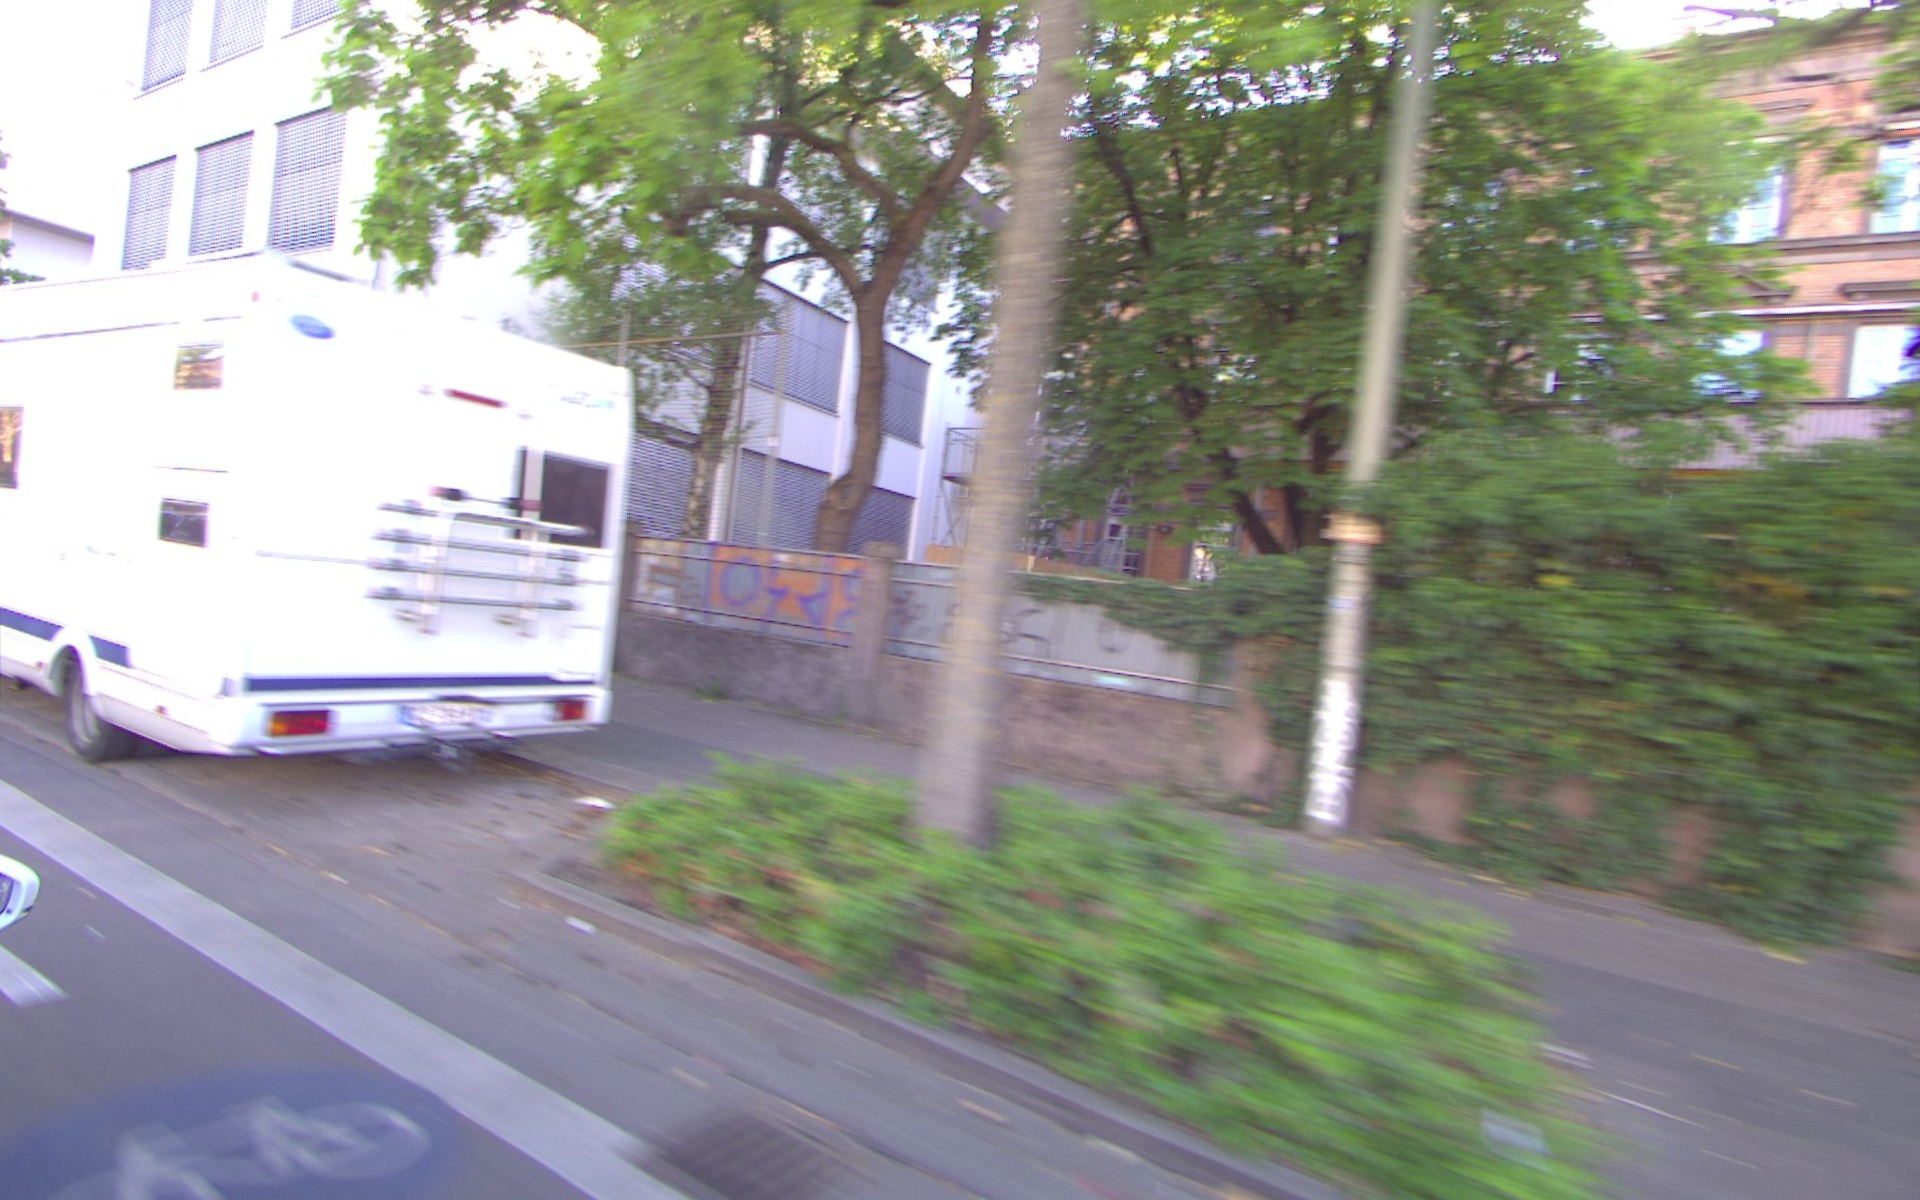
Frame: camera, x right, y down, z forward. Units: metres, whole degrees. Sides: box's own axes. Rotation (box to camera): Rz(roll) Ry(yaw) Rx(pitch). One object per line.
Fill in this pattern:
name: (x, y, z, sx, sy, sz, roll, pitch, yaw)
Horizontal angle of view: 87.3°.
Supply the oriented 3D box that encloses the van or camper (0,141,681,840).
van or camper: (-5.686, -0.800, 7.541, 7.425, 3.168, 2.375, 7, 3, 32)
